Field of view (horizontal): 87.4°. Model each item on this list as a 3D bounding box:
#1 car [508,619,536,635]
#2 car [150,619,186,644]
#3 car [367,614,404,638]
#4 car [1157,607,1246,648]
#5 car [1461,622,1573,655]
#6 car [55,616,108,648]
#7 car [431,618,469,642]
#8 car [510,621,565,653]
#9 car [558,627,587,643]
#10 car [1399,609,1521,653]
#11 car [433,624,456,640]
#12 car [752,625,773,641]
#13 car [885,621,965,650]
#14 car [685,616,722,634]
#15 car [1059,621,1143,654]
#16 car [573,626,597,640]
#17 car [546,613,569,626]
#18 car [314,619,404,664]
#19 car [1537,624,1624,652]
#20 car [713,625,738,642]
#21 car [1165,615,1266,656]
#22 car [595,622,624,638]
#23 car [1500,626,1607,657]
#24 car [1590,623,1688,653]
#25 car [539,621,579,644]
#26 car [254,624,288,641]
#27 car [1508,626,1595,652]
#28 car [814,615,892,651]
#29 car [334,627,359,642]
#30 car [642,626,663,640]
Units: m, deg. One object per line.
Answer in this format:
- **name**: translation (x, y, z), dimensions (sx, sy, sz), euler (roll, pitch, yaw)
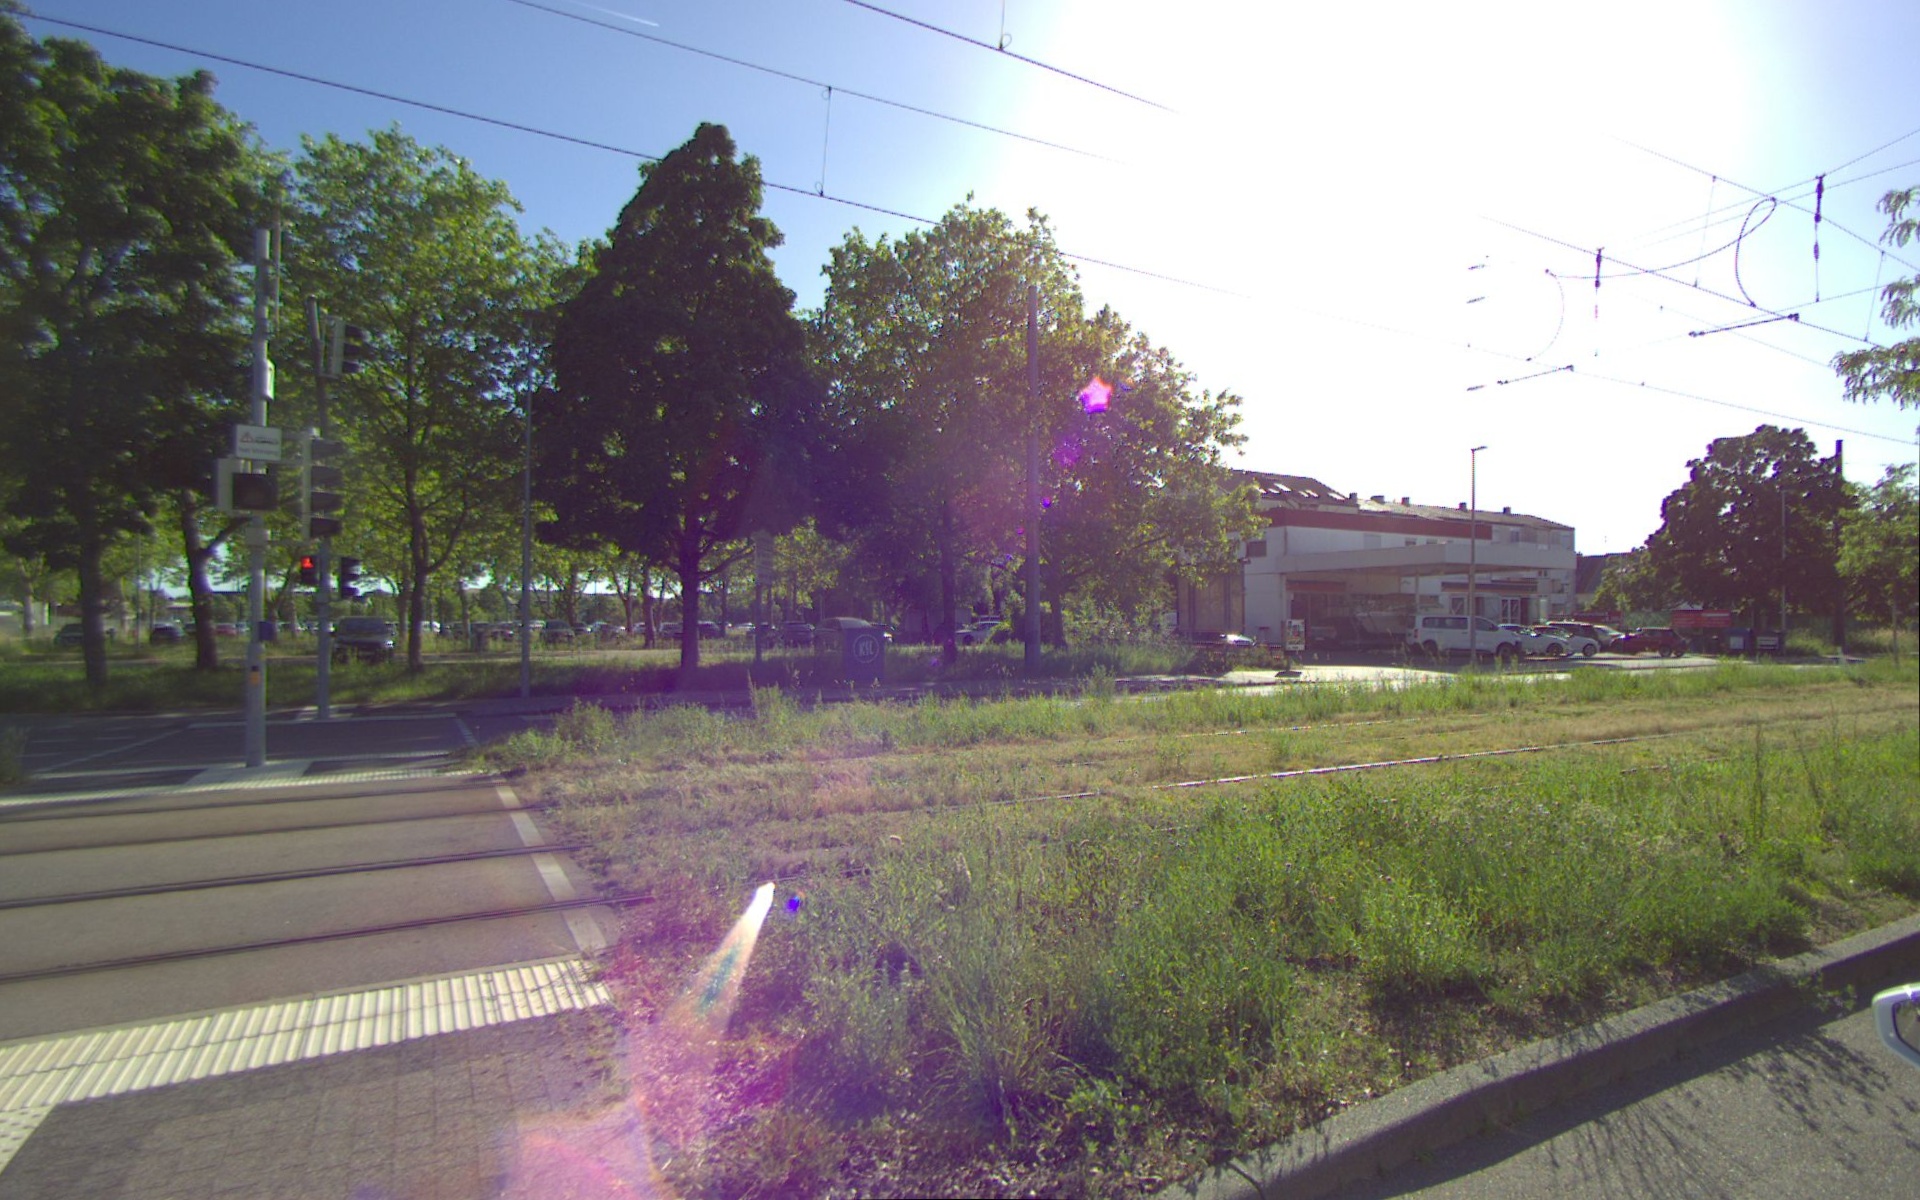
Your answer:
- **car**: translation (-39.691, 2.432, 91.061), dimensions (1.648, 1.451, 3.941), euler (1, -1, -34)
- **car**: translation (-55.373, 2.185, 70.295), dimensions (1.814, 1.627, 3.958), euler (1, -1, -37)
- **car**: translation (-40.795, 1.824, 71.269), dimensions (1.814, 1.690, 3.958), euler (1, -1, -37)
- **car**: translation (13.081, 1.512, 54.713), dimensions (1.997, 2.119, 4.699), euler (1, -2, -30)
- **car**: translation (26.903, 1.877, 48.645), dimensions (4.380, 1.548, 1.793), euler (-1, -2, 9)
- **car**: translation (-48.144, 1.721, 55.113), dimensions (1.814, 1.690, 3.958), euler (1, -1, -37)
- **car**: translation (-37.374, 2.159, 73.558), dimensions (1.814, 1.690, 3.958), euler (1, -1, -37)
- **car**: translation (-19.891, 1.709, 47.207), dimensions (1.648, 1.451, 3.941), euler (1, -1, -34)
- **car**: translation (-35.930, 3.214, 93.072), dimensions (1.648, 1.451, 3.941), euler (1, -1, -34)
- **car**: translation (23.050, 1.438, 46.465), dimensions (4.689, 2.000, 1.862), euler (-1, -2, 9)
- **car**: translation (-52.355, 3.219, 102.102), dimensions (1.805, 1.627, 3.978), euler (1, -1, -23)
- **car**: translation (-20.077, 3.336, 101.889), dimensions (1.956, 1.569, 4.421), euler (0, -2, -13)
- **car**: translation (-1.539, 1.495, 43.008), dimensions (1.648, 1.182, 3.942), euler (1, -1, -33)
- **car**: translation (-21.152, 2.026, 82.727), dimensions (1.828, 1.451, 3.941), euler (1, -1, -34)
- **car**: translation (7.107, 1.874, 50.590), dimensions (4.035, 1.565, 1.572), euler (1, -1, -26)
- **car**: translation (-42.248, 3.739, 113.309), dimensions (1.956, 1.569, 4.421), euler (0, -2, -13)
- **car**: translation (-44.647, 2.188, 111.325), dimensions (1.648, 1.451, 3.941), euler (1, -1, -34)
- **car**: translation (-20.000, 1.357, 33.374), dimensions (1.859, 1.400, 3.951), euler (1, -2, -42)
- **car**: translation (36.938, 2.266, 59.890), dimensions (1.772, 1.589, 4.050), euler (1, -2, -31)
- **car**: translation (-23.355, 3.288, 99.892), dimensions (1.805, 1.627, 3.978), euler (1, -1, -23)
- **car**: translation (10.754, 1.479, 42.500), dimensions (1.713, 1.545, 3.941), euler (4, -2, -34)
- **car**: translation (-33.187, 2.833, 94.993), dimensions (1.648, 1.451, 3.941), euler (1, -1, -34)
- **car**: translation (30.127, 2.099, 51.092), dimensions (4.382, 1.490, 1.792), euler (0, -2, 0)
- **car**: translation (37.020, 2.047, 54.861), dimensions (1.772, 1.589, 4.050), euler (1, -2, -31)
- **car**: translation (-26.975, 2.157, 67.457), dimensions (1.728, 1.468, 3.941), euler (1, -1, -34)
- **car**: translation (-65.280, 3.086, 95.177), dimensions (1.950, 1.569, 4.403), euler (1, -2, -25)
- **car**: translation (34.410, 2.239, 58.526), dimensions (1.772, 1.464, 4.050), euler (1, -2, -31)
- **car**: translation (-4.590, 1.417, 42.674), dimensions (1.648, 1.451, 3.941), euler (1, -2, -34)
- **car**: translation (-68.071, 3.799, 111.491), dimensions (1.963, 1.569, 4.403), euler (1, -2, -25)
- **car**: translation (-34.115, 3.648, 111.591), dimensions (1.956, 1.569, 4.421), euler (0, -2, -13)
